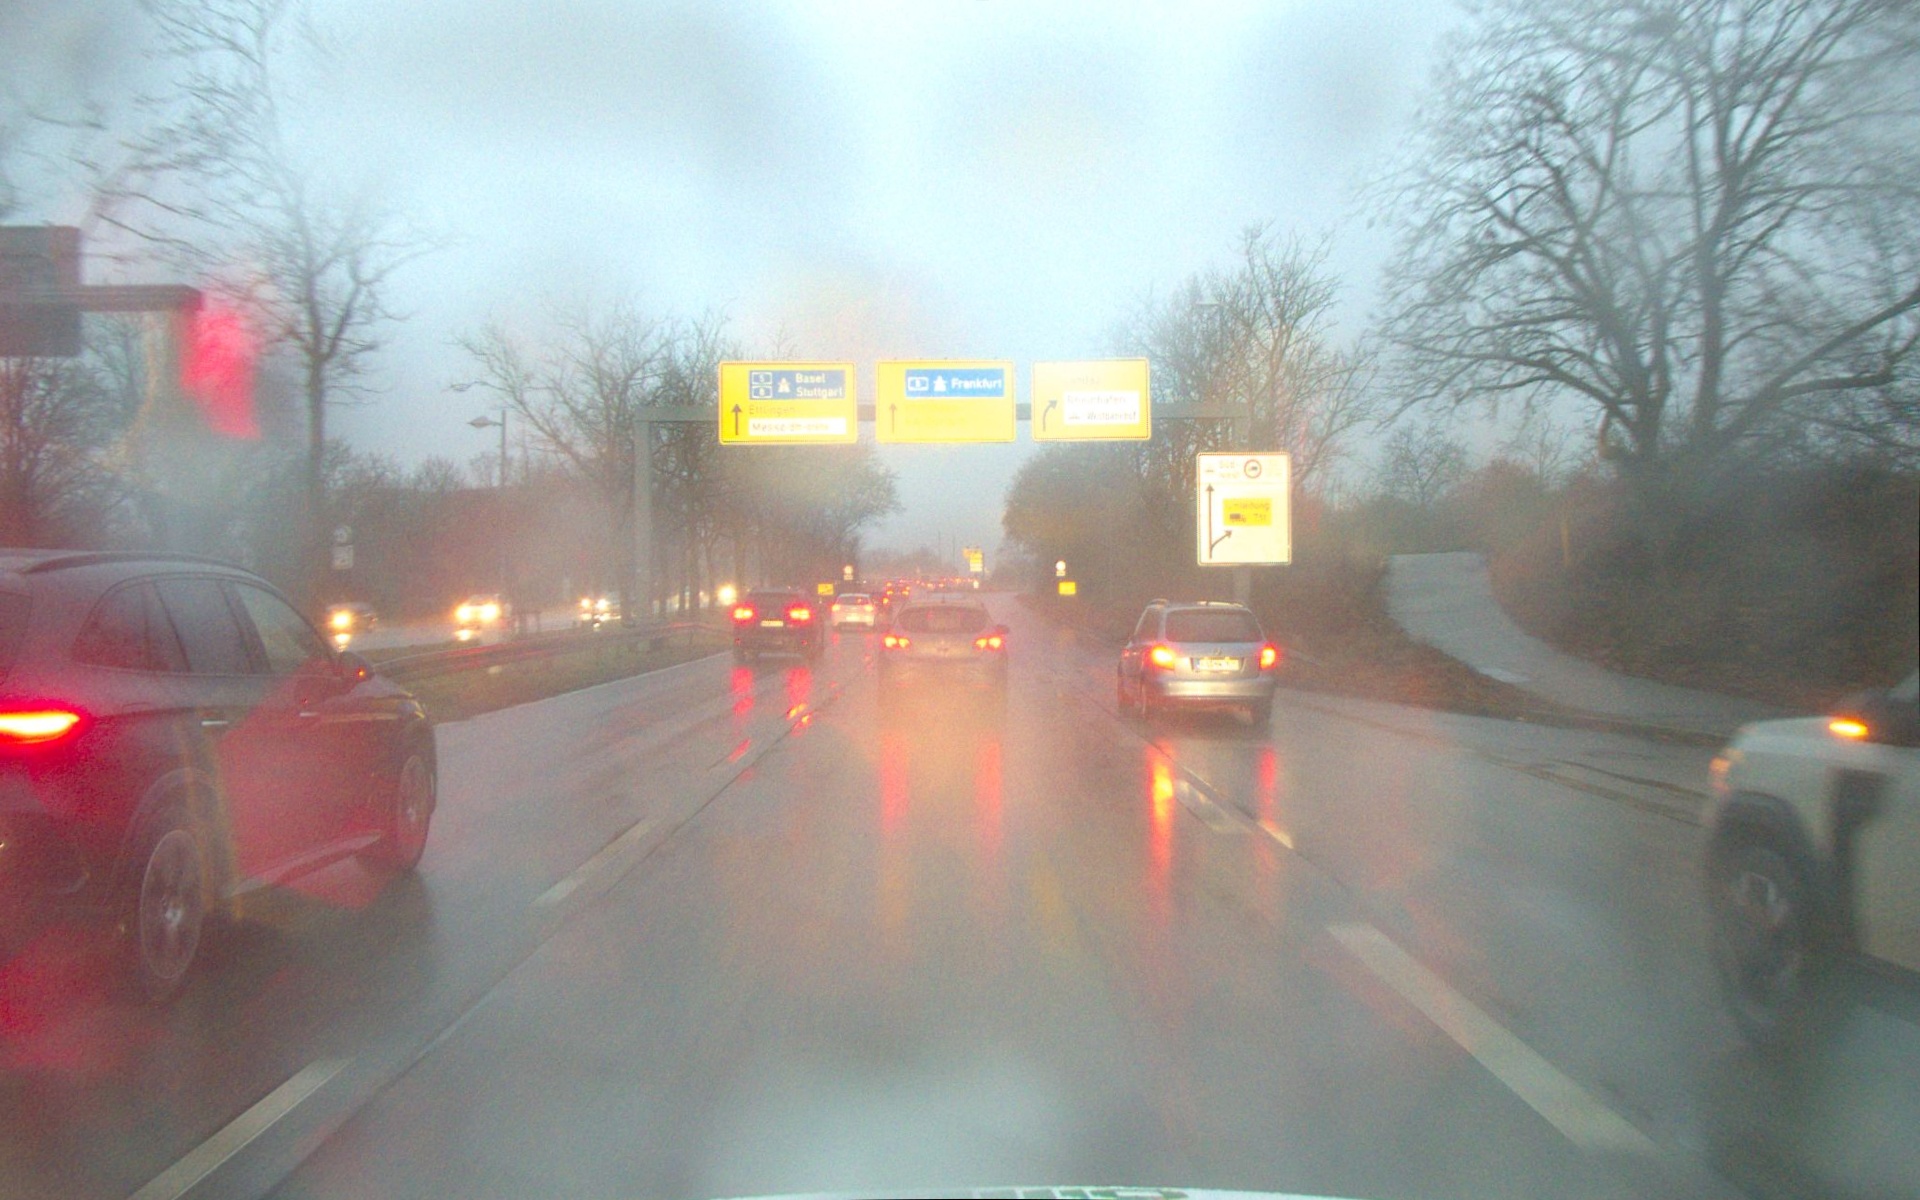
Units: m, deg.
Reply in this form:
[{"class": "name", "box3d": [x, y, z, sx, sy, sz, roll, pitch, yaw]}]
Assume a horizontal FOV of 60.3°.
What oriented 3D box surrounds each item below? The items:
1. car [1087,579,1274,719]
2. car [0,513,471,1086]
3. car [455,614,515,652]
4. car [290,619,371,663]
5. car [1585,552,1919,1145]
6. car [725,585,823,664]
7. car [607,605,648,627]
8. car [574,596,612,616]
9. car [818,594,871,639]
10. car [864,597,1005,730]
[{"class": "car", "box3d": [2.844, 0.621, 22.264, 1.894, 1.677, 4.466, 1, -1, 0]}, {"class": "car", "box3d": [-3.587, 0.602, 7.048, 1.785, 1.677, 4.465, -1, 0, -2]}, {"class": "car", "box3d": [-21.339, 1.459, 74.477, 1.749, 1.655, 3.573, 0, 0, -2]}, {"class": "car", "box3d": [-28.735, 1.856, 75.660, 1.952, 1.883, 4.427, 0, 0, 1]}, {"class": "car", "box3d": [3.554, 0.679, 4.541, 1.779, 1.646, 4.407, -1, 0, -4]}, {"class": "car", "box3d": [-4.194, 0.539, 37.895, 1.785, 1.677, 4.000, -1, 0, 0]}, {"class": "car", "box3d": [-20.538, 0.992, 102.395, 1.716, 1.331, 4.315, 0, 0, -1]}, {"class": "car", "box3d": [-25.170, 0.414, 113.604, 1.716, 1.331, 4.315, 0, 0, -1]}, {"class": "car", "box3d": [-4.477, 0.635, 64.417, 1.785, 1.677, 4.000, -1, 0, 0]}, {"class": "car", "box3d": [-0.330, 0.838, 23.445, 1.785, 1.677, 4.466, 1, -1, 0]}]
